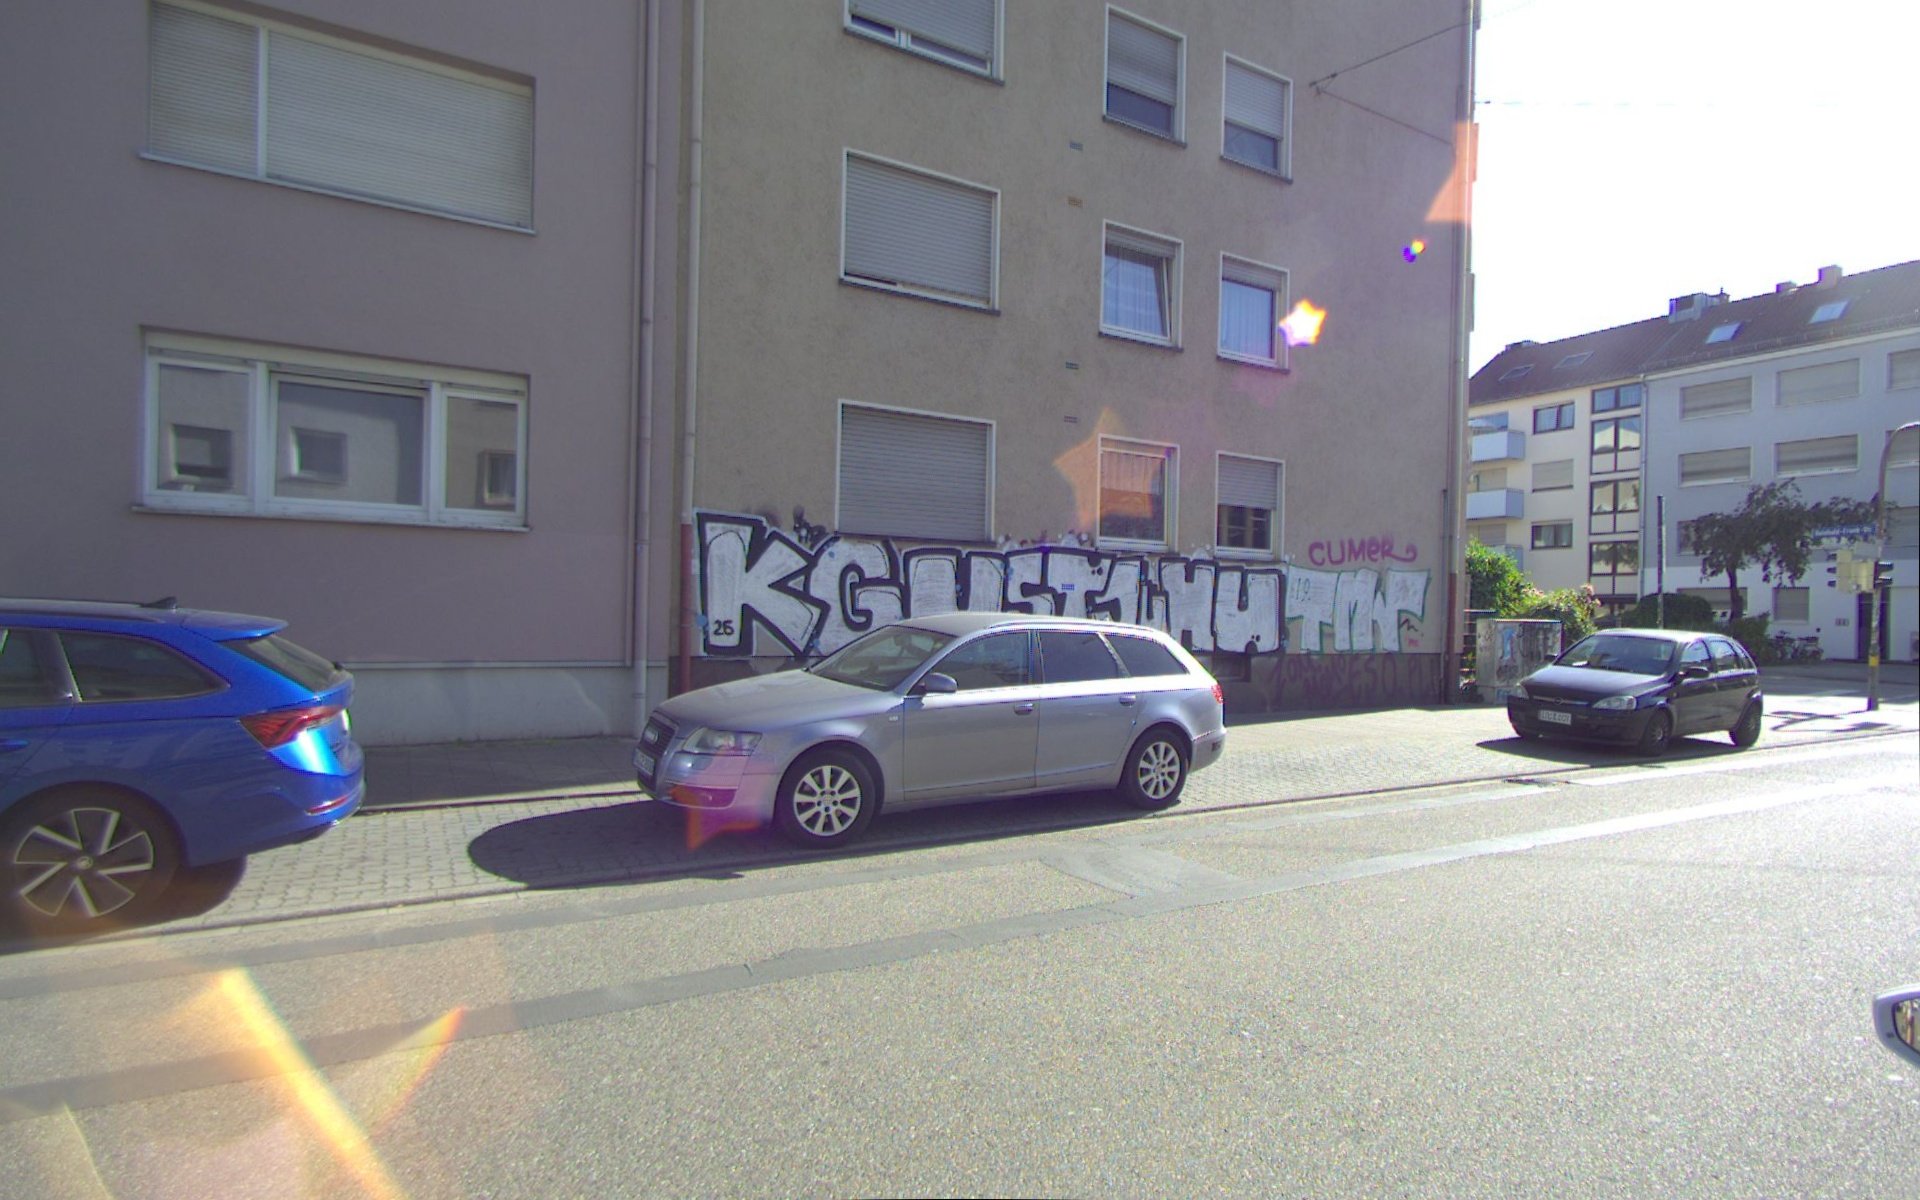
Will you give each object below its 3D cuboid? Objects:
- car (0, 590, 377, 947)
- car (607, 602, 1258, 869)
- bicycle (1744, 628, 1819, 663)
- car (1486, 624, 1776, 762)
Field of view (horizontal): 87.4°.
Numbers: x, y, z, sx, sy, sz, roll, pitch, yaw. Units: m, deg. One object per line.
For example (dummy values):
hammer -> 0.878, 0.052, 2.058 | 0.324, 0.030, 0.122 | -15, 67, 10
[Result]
car -> -5.339, 0.710, 4.607 | 4.558, 1.485, 1.709 | 1, 2, -30
car -> -0.058, 0.831, 7.711 | 4.759, 1.485, 1.709 | 1, 1, -31
bicycle -> 29.733, 1.646, 36.384 | 2.068, 1.188, 0.738 | 0, -1, 37
car -> 8.574, 1.087, 12.786 | 3.667, 1.444, 1.608 | 1, 1, -31
